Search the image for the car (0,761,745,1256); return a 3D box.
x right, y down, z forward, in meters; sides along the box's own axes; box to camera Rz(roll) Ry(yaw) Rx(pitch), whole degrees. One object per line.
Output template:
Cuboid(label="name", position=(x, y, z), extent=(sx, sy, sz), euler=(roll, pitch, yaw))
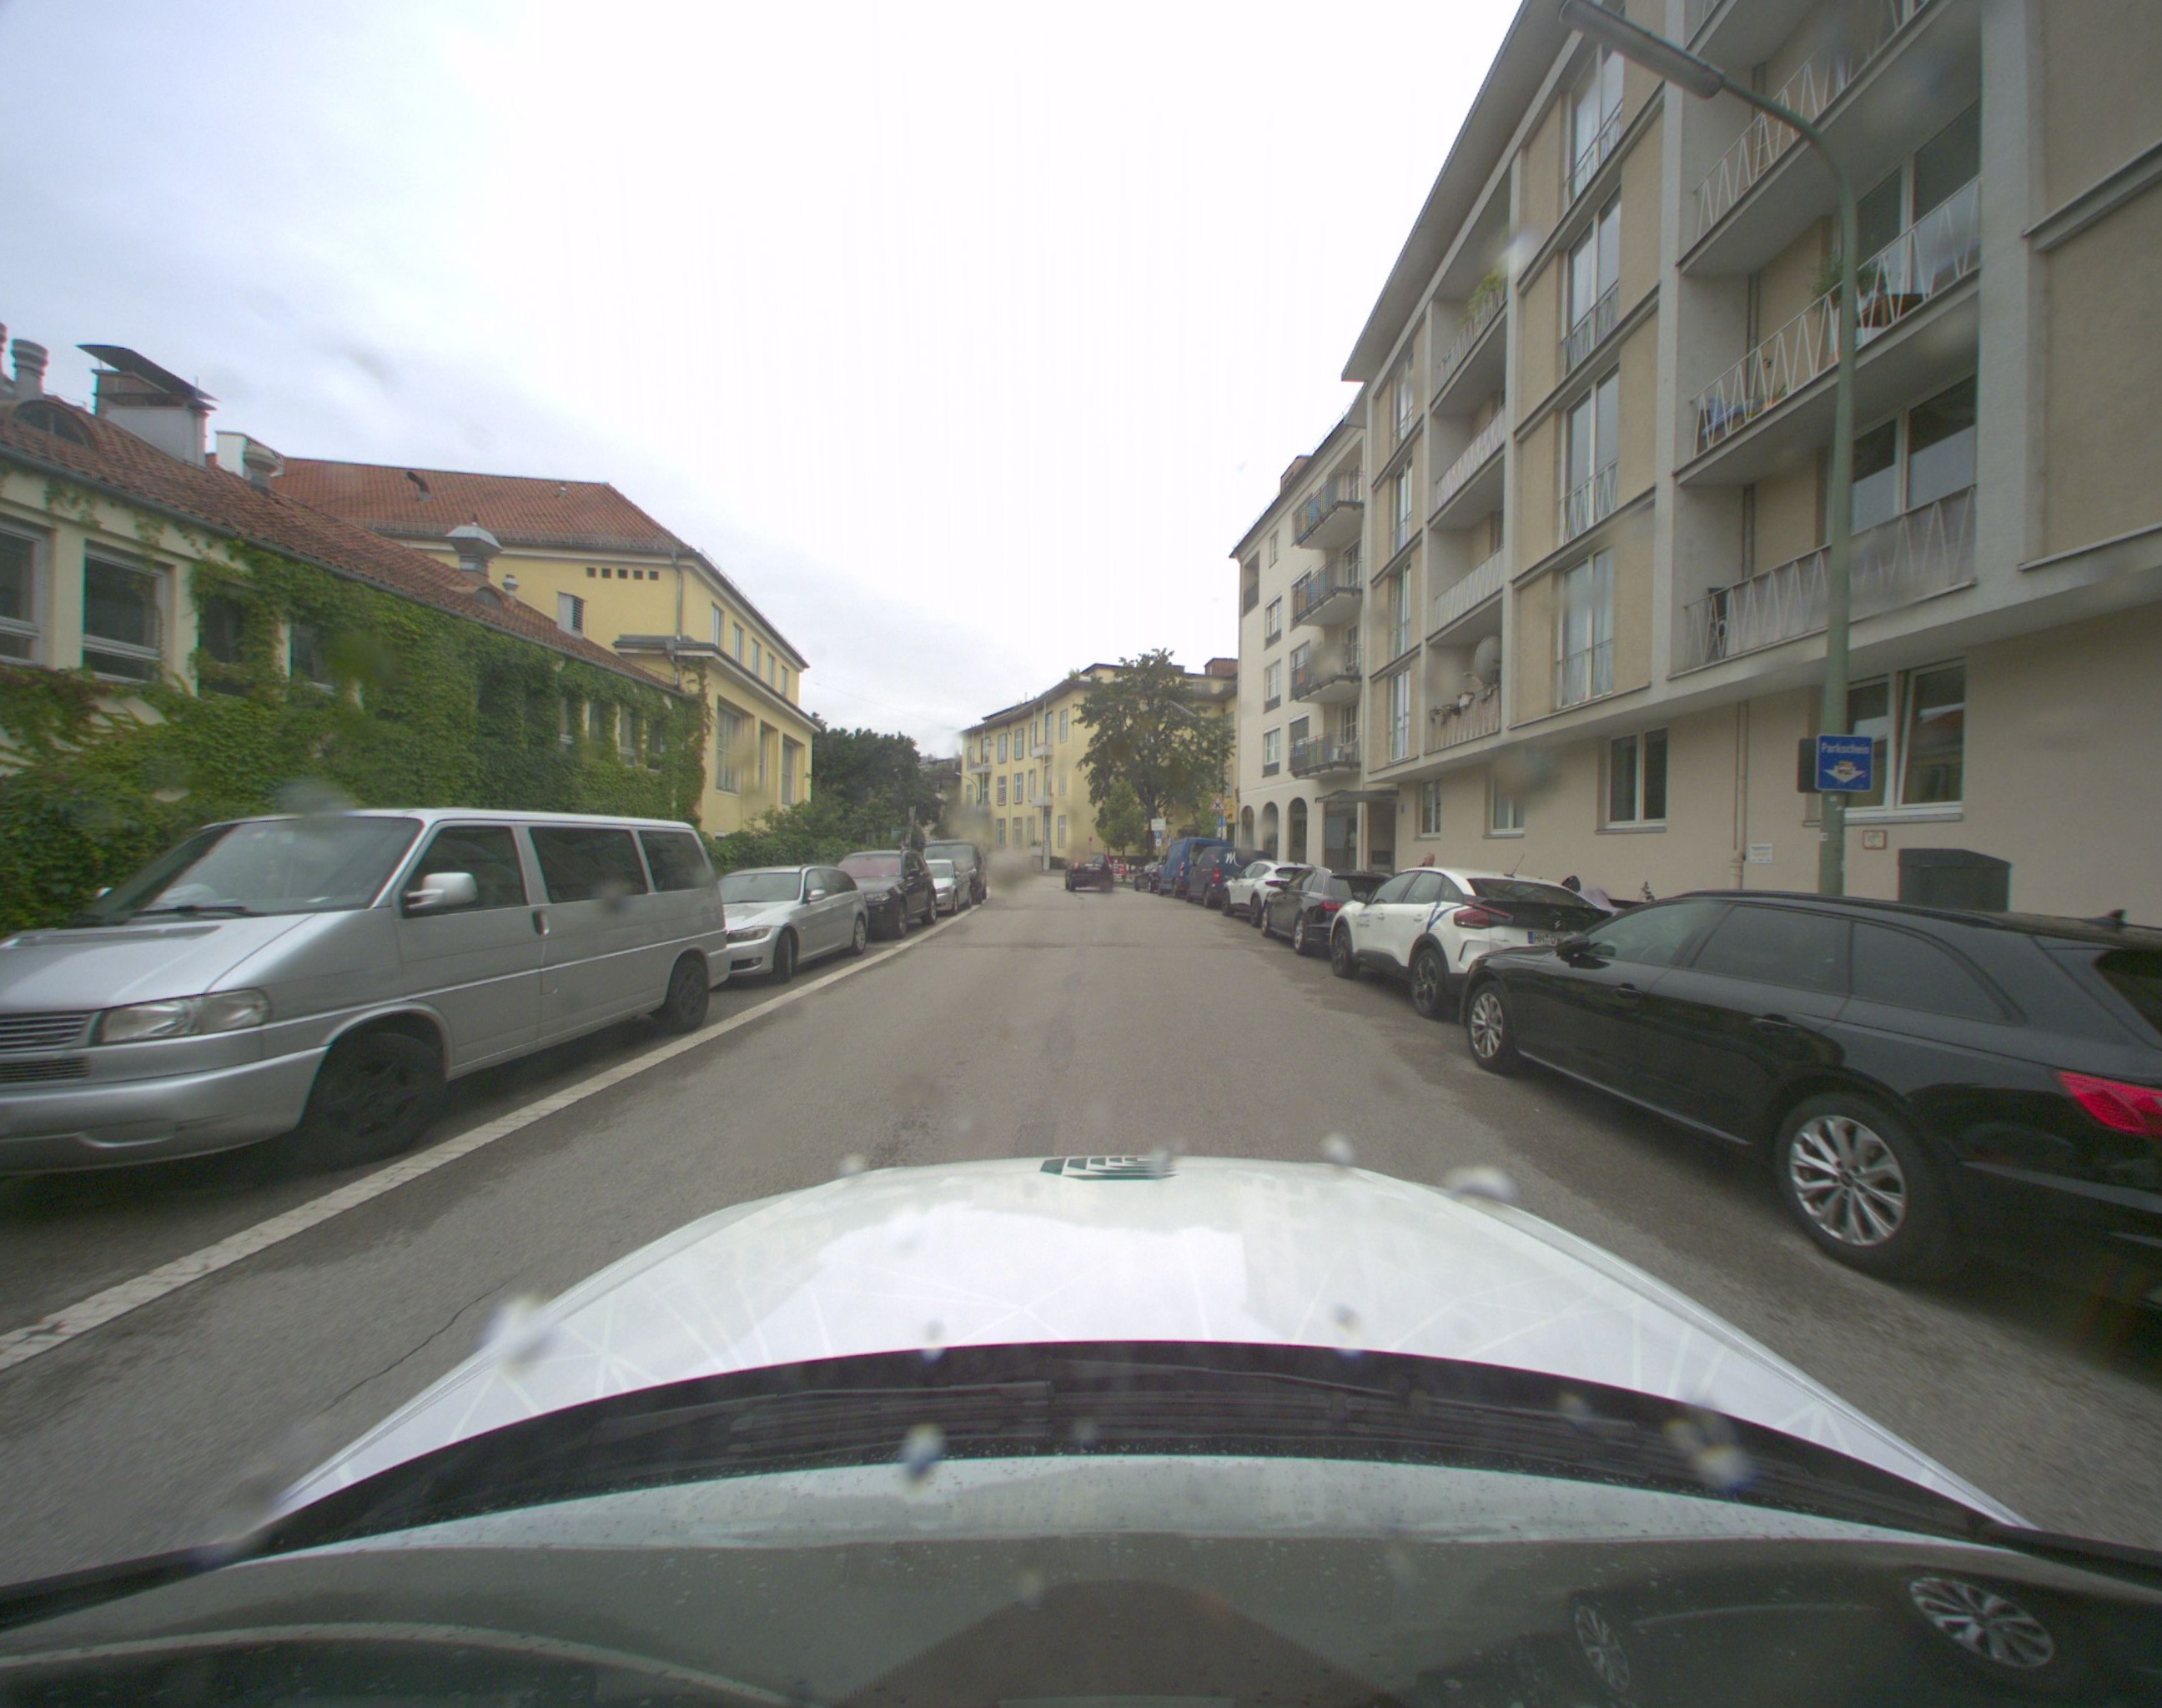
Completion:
Cuboid(label="car", position=(-4.402, 0.613, 5.529), extent=(1.985, 1.875, 4.762), euler=(-3, 0, 3))

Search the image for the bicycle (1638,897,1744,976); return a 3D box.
Cuboid(label="bicycle", position=(8.350, 1.097, 11.207), extent=(0.442, 0.936, 1.402), euler=(-1, 0, 2))

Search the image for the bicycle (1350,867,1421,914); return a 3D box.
Cuboid(label="bicycle", position=(8.468, 0.994, 22.748), extent=(1.143, 1.186, 2.207), euler=(1, 0, 0))

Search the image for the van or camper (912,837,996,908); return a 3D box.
Cuboid(label="van or camper", position=(-4.025, 0.541, 26.573), extent=(1.954, 2.065, 4.752), euler=(-2, 0, 0))

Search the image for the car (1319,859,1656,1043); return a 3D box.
Cuboid(label="car", position=(4.237, 0.875, 9.360), extent=(1.733, 1.499, 4.219), euler=(3, 0, 0))

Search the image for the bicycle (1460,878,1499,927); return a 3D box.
Cuboid(label="bicycle", position=(8.761, 1.054, 17.937), extent=(0.372, 1.023, 1.002), euler=(-1, 0, 1))

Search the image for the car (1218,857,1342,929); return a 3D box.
Cuboid(label="car", position=(4.687, 0.859, 19.783), extent=(1.735, 1.537, 4.267), euler=(0, 0, -4))

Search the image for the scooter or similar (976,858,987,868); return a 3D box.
Cuboid(label="scooter or similar", position=(-10.367, 0.932, 84.933), extent=(0.491, 1.109, 1.417), euler=(0, 0, 23))

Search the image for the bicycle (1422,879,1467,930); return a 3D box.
Cuboid(label="bicycle", position=(7.897, 1.079, 17.746), extent=(0.421, 1.023, 1.302), euler=(-1, 0, 2))

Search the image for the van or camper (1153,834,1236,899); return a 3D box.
Cuboid(label="van or camper", position=(4.261, 0.432, 31.530), extent=(2.056, 2.231, 5.430), euler=(-2, 0, -4))

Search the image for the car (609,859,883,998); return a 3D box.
Cuboid(label="car", position=(-4.229, 0.836, 11.174), extent=(1.694, 1.422, 4.428), euler=(-2, 0, 3))

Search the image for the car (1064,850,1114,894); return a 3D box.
Cuboid(label="car", position=(0.425, 0.727, 35.243), extent=(1.987, 1.694, 4.383), euler=(-1, 1, 2))

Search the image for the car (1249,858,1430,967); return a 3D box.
Cuboid(label="car", position=(4.308, 0.876, 14.362), extent=(1.733, 1.499, 4.495), euler=(3, 0, 0))

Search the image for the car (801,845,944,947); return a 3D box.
Cuboid(label="car", position=(-3.988, 0.719, 16.346), extent=(1.614, 1.730, 4.425), euler=(-2, 0, 1))

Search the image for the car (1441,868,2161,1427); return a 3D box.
Cuboid(label="car", position=(3.877, 0.897, 4.465), extent=(1.790, 1.420, 4.483), euler=(4, 0, 0))

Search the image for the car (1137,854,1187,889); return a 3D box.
Cuboid(label="car", position=(3.689, 0.773, 37.734), extent=(1.700, 1.518, 3.954), euler=(-1, 0, -3))

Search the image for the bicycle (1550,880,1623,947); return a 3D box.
Cuboid(label="bicycle", position=(8.518, 0.971, 13.771), extent=(0.388, 1.023, 1.402), euler=(-1, 0, 2))

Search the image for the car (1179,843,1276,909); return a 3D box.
Cuboid(label="car", position=(4.481, 0.658, 25.701), extent=(1.959, 1.816, 4.931), euler=(-2, -1, -2))

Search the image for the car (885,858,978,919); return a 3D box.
Cuboid(label="car", position=(-3.846, 0.841, 21.636), extent=(1.614, 1.378, 4.072), euler=(-2, 0, 1))

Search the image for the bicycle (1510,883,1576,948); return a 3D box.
Cuboid(label="bicycle", position=(8.076, 1.048, 14.293), extent=(0.388, 1.023, 1.402), euler=(-1, 0, 2))

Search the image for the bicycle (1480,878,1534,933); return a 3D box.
Cuboid(label="bicycle", position=(8.723, 1.029, 16.721), extent=(0.388, 1.023, 1.402), euler=(-1, 0, 2))

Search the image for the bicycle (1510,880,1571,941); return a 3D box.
Cuboid(label="bicycle", position=(8.592, 1.036, 15.273), extent=(0.388, 1.023, 1.402), euler=(-1, 0, 2))

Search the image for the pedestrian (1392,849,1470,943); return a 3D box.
Cuboid(label="pedestrian", position=(6.529, 0.757, 15.258), extent=(0.895, 1.687, 1.319), euler=(0, 0, 0))

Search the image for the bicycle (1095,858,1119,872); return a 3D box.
Cuboid(label="bicycle", position=(2.211, 0.937, 69.167), extent=(2.189, 1.117, 0.614), euler=(1, 0, 43))

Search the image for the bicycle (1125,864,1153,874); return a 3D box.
Cuboid(label="bicycle", position=(4.816, 1.221, 67.885), extent=(2.194, 0.779, 0.612), euler=(1, 0, 15))
